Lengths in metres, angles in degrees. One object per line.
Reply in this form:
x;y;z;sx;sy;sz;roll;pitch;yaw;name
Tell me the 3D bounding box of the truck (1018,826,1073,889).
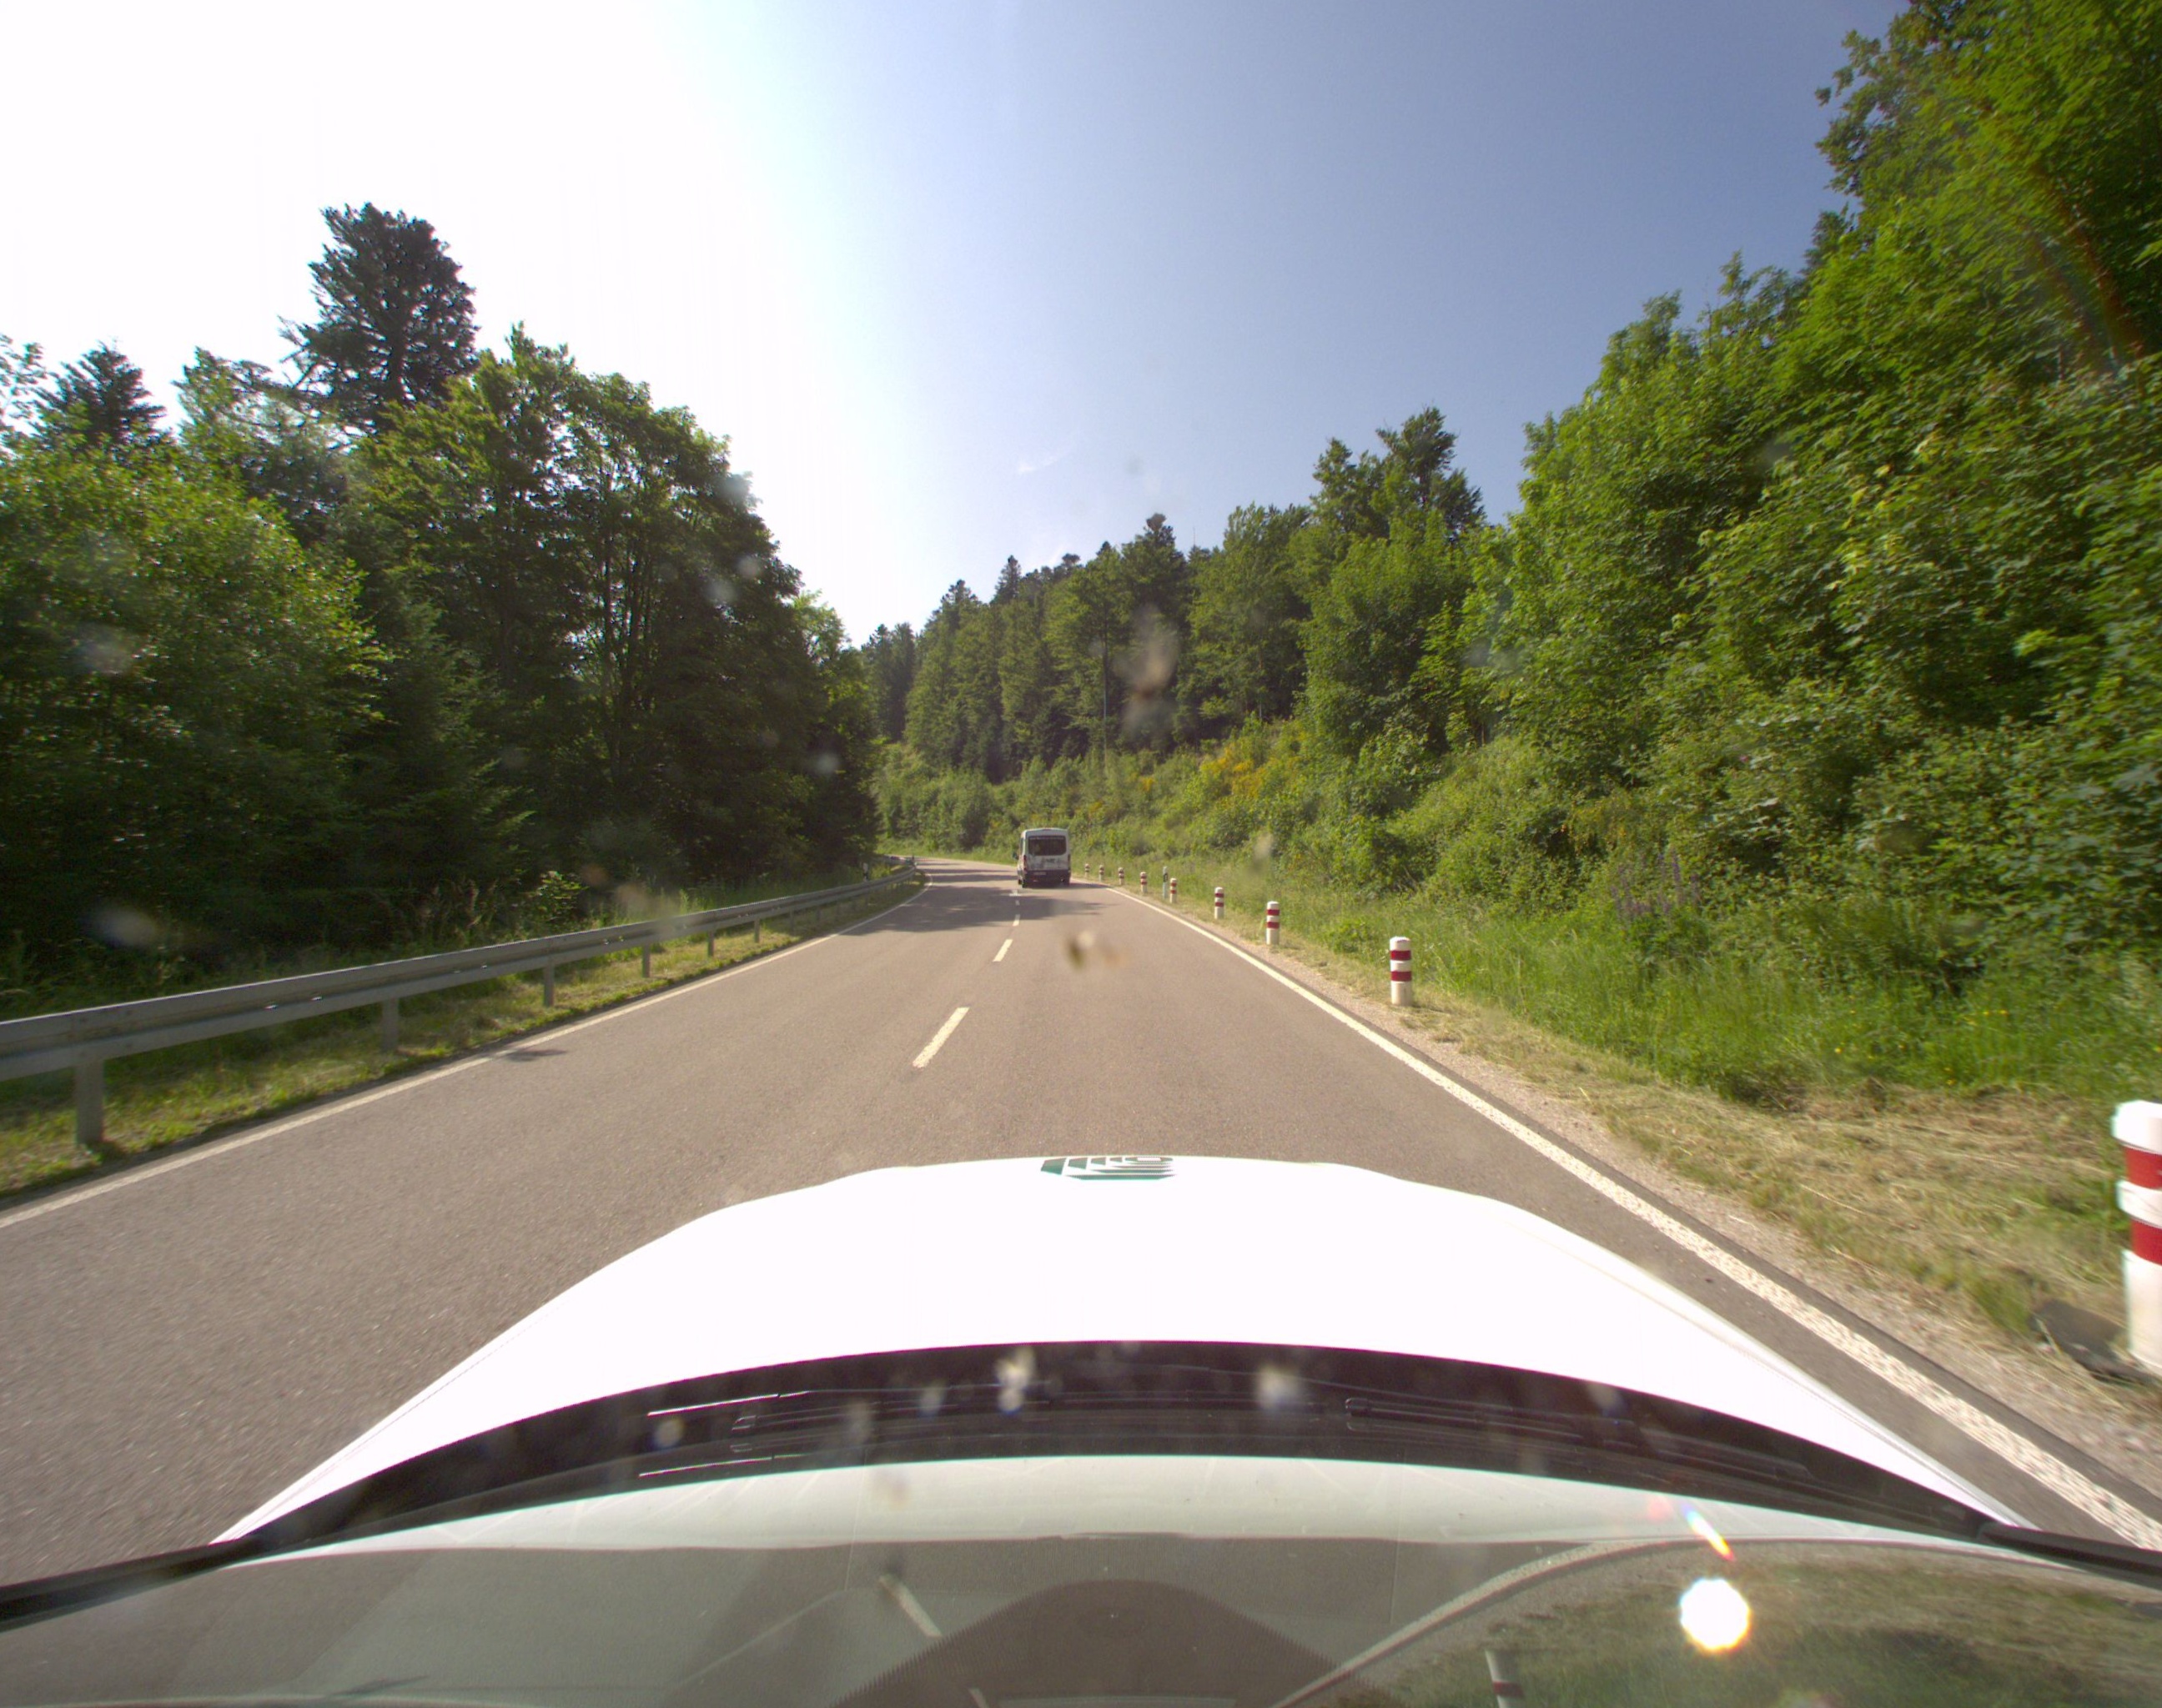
-1.636;0.113;35.797;2.112;2.498;5.349;-1;1;-5;truck
